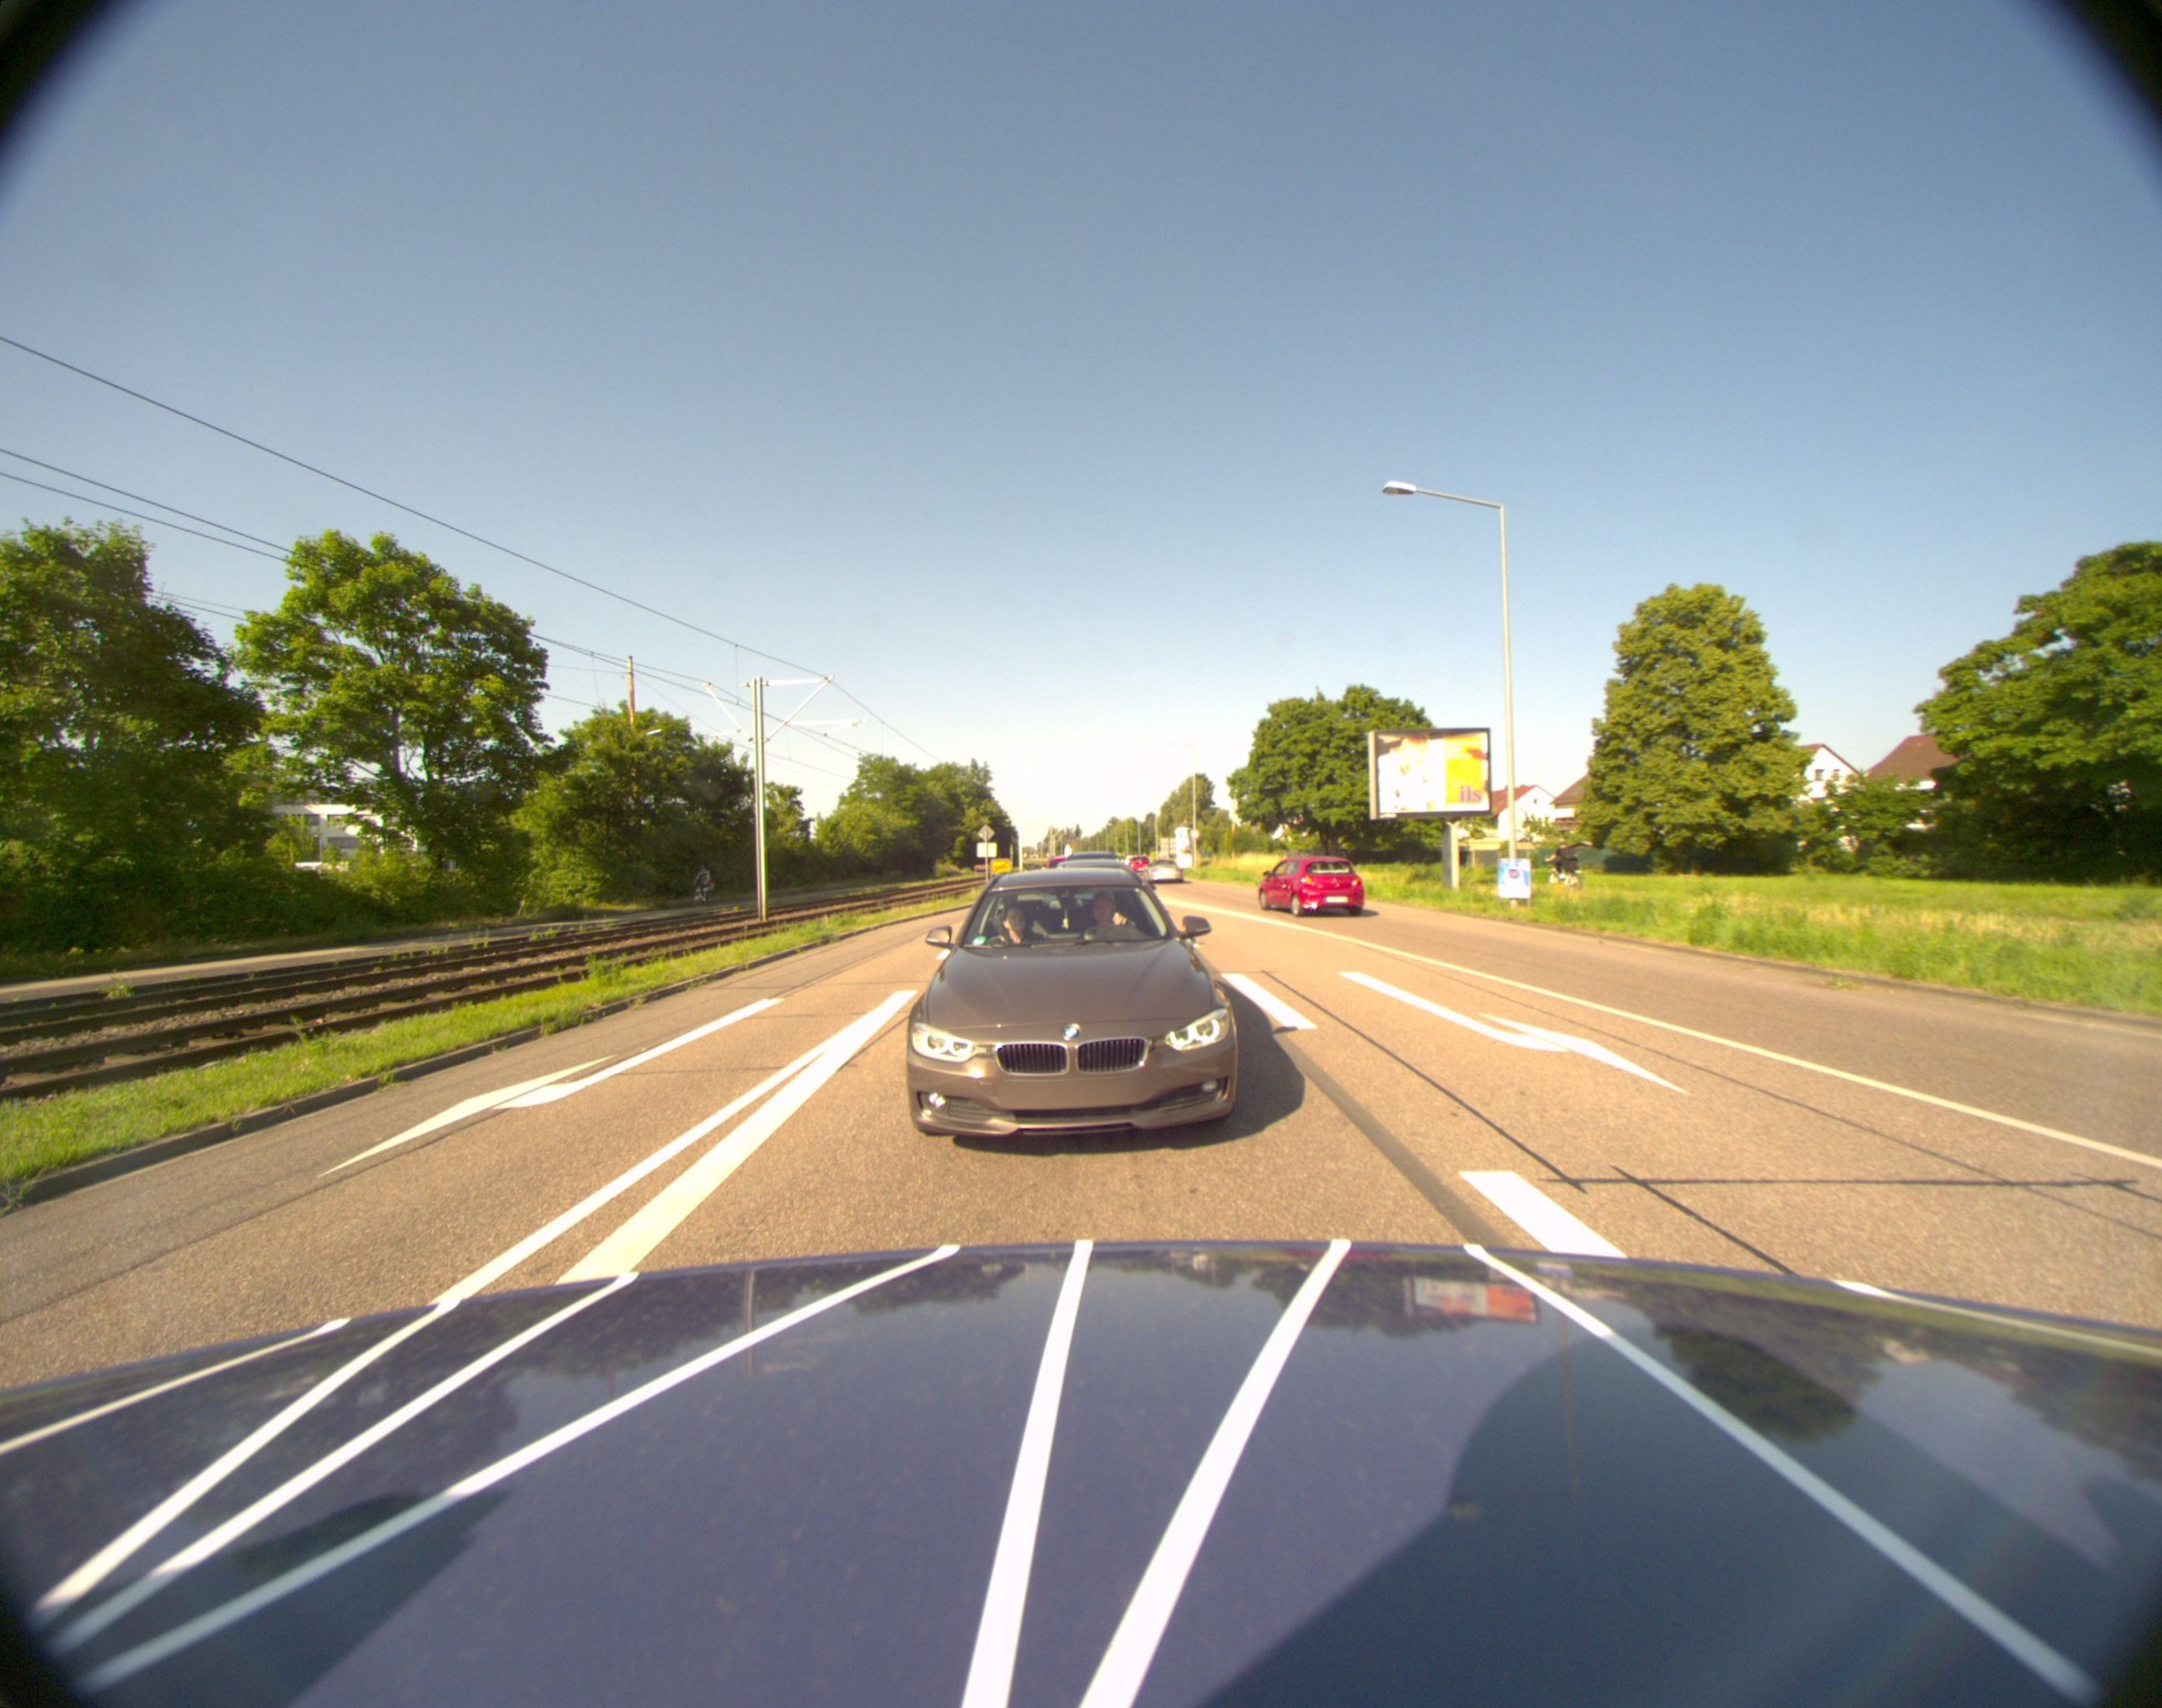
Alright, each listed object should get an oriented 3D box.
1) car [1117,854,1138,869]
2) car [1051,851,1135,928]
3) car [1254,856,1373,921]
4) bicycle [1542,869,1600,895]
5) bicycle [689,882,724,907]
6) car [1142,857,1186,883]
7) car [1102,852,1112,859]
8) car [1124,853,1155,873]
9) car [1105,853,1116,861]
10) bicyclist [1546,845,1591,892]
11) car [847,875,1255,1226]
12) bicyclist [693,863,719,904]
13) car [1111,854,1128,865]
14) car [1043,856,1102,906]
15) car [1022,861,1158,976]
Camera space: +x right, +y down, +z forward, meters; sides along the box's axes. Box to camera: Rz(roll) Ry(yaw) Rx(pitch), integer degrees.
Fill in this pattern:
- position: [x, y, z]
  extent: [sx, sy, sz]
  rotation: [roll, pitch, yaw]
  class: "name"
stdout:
- position: [4.531, 0.712, 74.822]
  extent: [1.784, 1.469, 4.272]
  rotation: [-1, 0, 0]
  class: "car"
- position: [0.283, 0.796, 19.338]
  extent: [1.821, 1.641, 4.611]
  rotation: [-2, 0, 0]
  class: "car"
- position: [5.827, 0.803, 19.483]
  extent: [1.699, 1.489, 3.674]
  rotation: [0, 0, -4]
  class: "car"
- position: [15.221, 0.852, 23.649]
  extent: [0.455, 0.749, 1.833]
  rotation: [-1, 0, -6]
  class: "bicycle"
- position: [-16.769, 1.798, 34.044]
  extent: [0.547, 1.041, 1.874]
  rotation: [-1, 0, 3]
  class: "bicycle"
- position: [4.402, 0.822, 40.788]
  extent: [1.784, 1.302, 4.285]
  rotation: [-1, 0, -2]
  class: "car"
- position: [5.484, 0.260, 163.603]
  extent: [1.784, 1.469, 4.285]
  rotation: [-1, 0, -3]
  class: "car"
- position: [4.364, 0.668, 57.468]
  extent: [1.784, 1.469, 3.912]
  rotation: [-1, 0, -4]
  class: "car"
- position: [5.319, 0.561, 136.725]
  extent: [1.784, 1.469, 4.286]
  rotation: [-1, 0, 0]
  class: "car"
- position: [15.190, 0.436, 23.705]
  extent: [0.638, 1.420, 1.071]
  rotation: [-2, 1, -6]
  class: "bicyclist"
- position: [-0.111, 0.971, 5.734]
  extent: [1.821, 1.416, 4.461]
  rotation: [-2, 0, 1]
  class: "car"
- position: [-16.793, 1.294, 34.039]
  extent: [0.708, 1.797, 0.718]
  rotation: [-1, 1, 3]
  class: "bicyclist"
- position: [5.306, 0.795, 105.731]
  extent: [1.784, 1.469, 4.285]
  rotation: [-1, 0, -4]
  class: "car"
- position: [-0.249, 0.859, 25.993]
  extent: [1.807, 1.498, 4.197]
  rotation: [-1, 0, 0]
  class: "car"
- position: [0.137, 0.903, 12.657]
  extent: [1.821, 1.481, 4.611]
  rotation: [-1, 0, 0]
  class: "car"
